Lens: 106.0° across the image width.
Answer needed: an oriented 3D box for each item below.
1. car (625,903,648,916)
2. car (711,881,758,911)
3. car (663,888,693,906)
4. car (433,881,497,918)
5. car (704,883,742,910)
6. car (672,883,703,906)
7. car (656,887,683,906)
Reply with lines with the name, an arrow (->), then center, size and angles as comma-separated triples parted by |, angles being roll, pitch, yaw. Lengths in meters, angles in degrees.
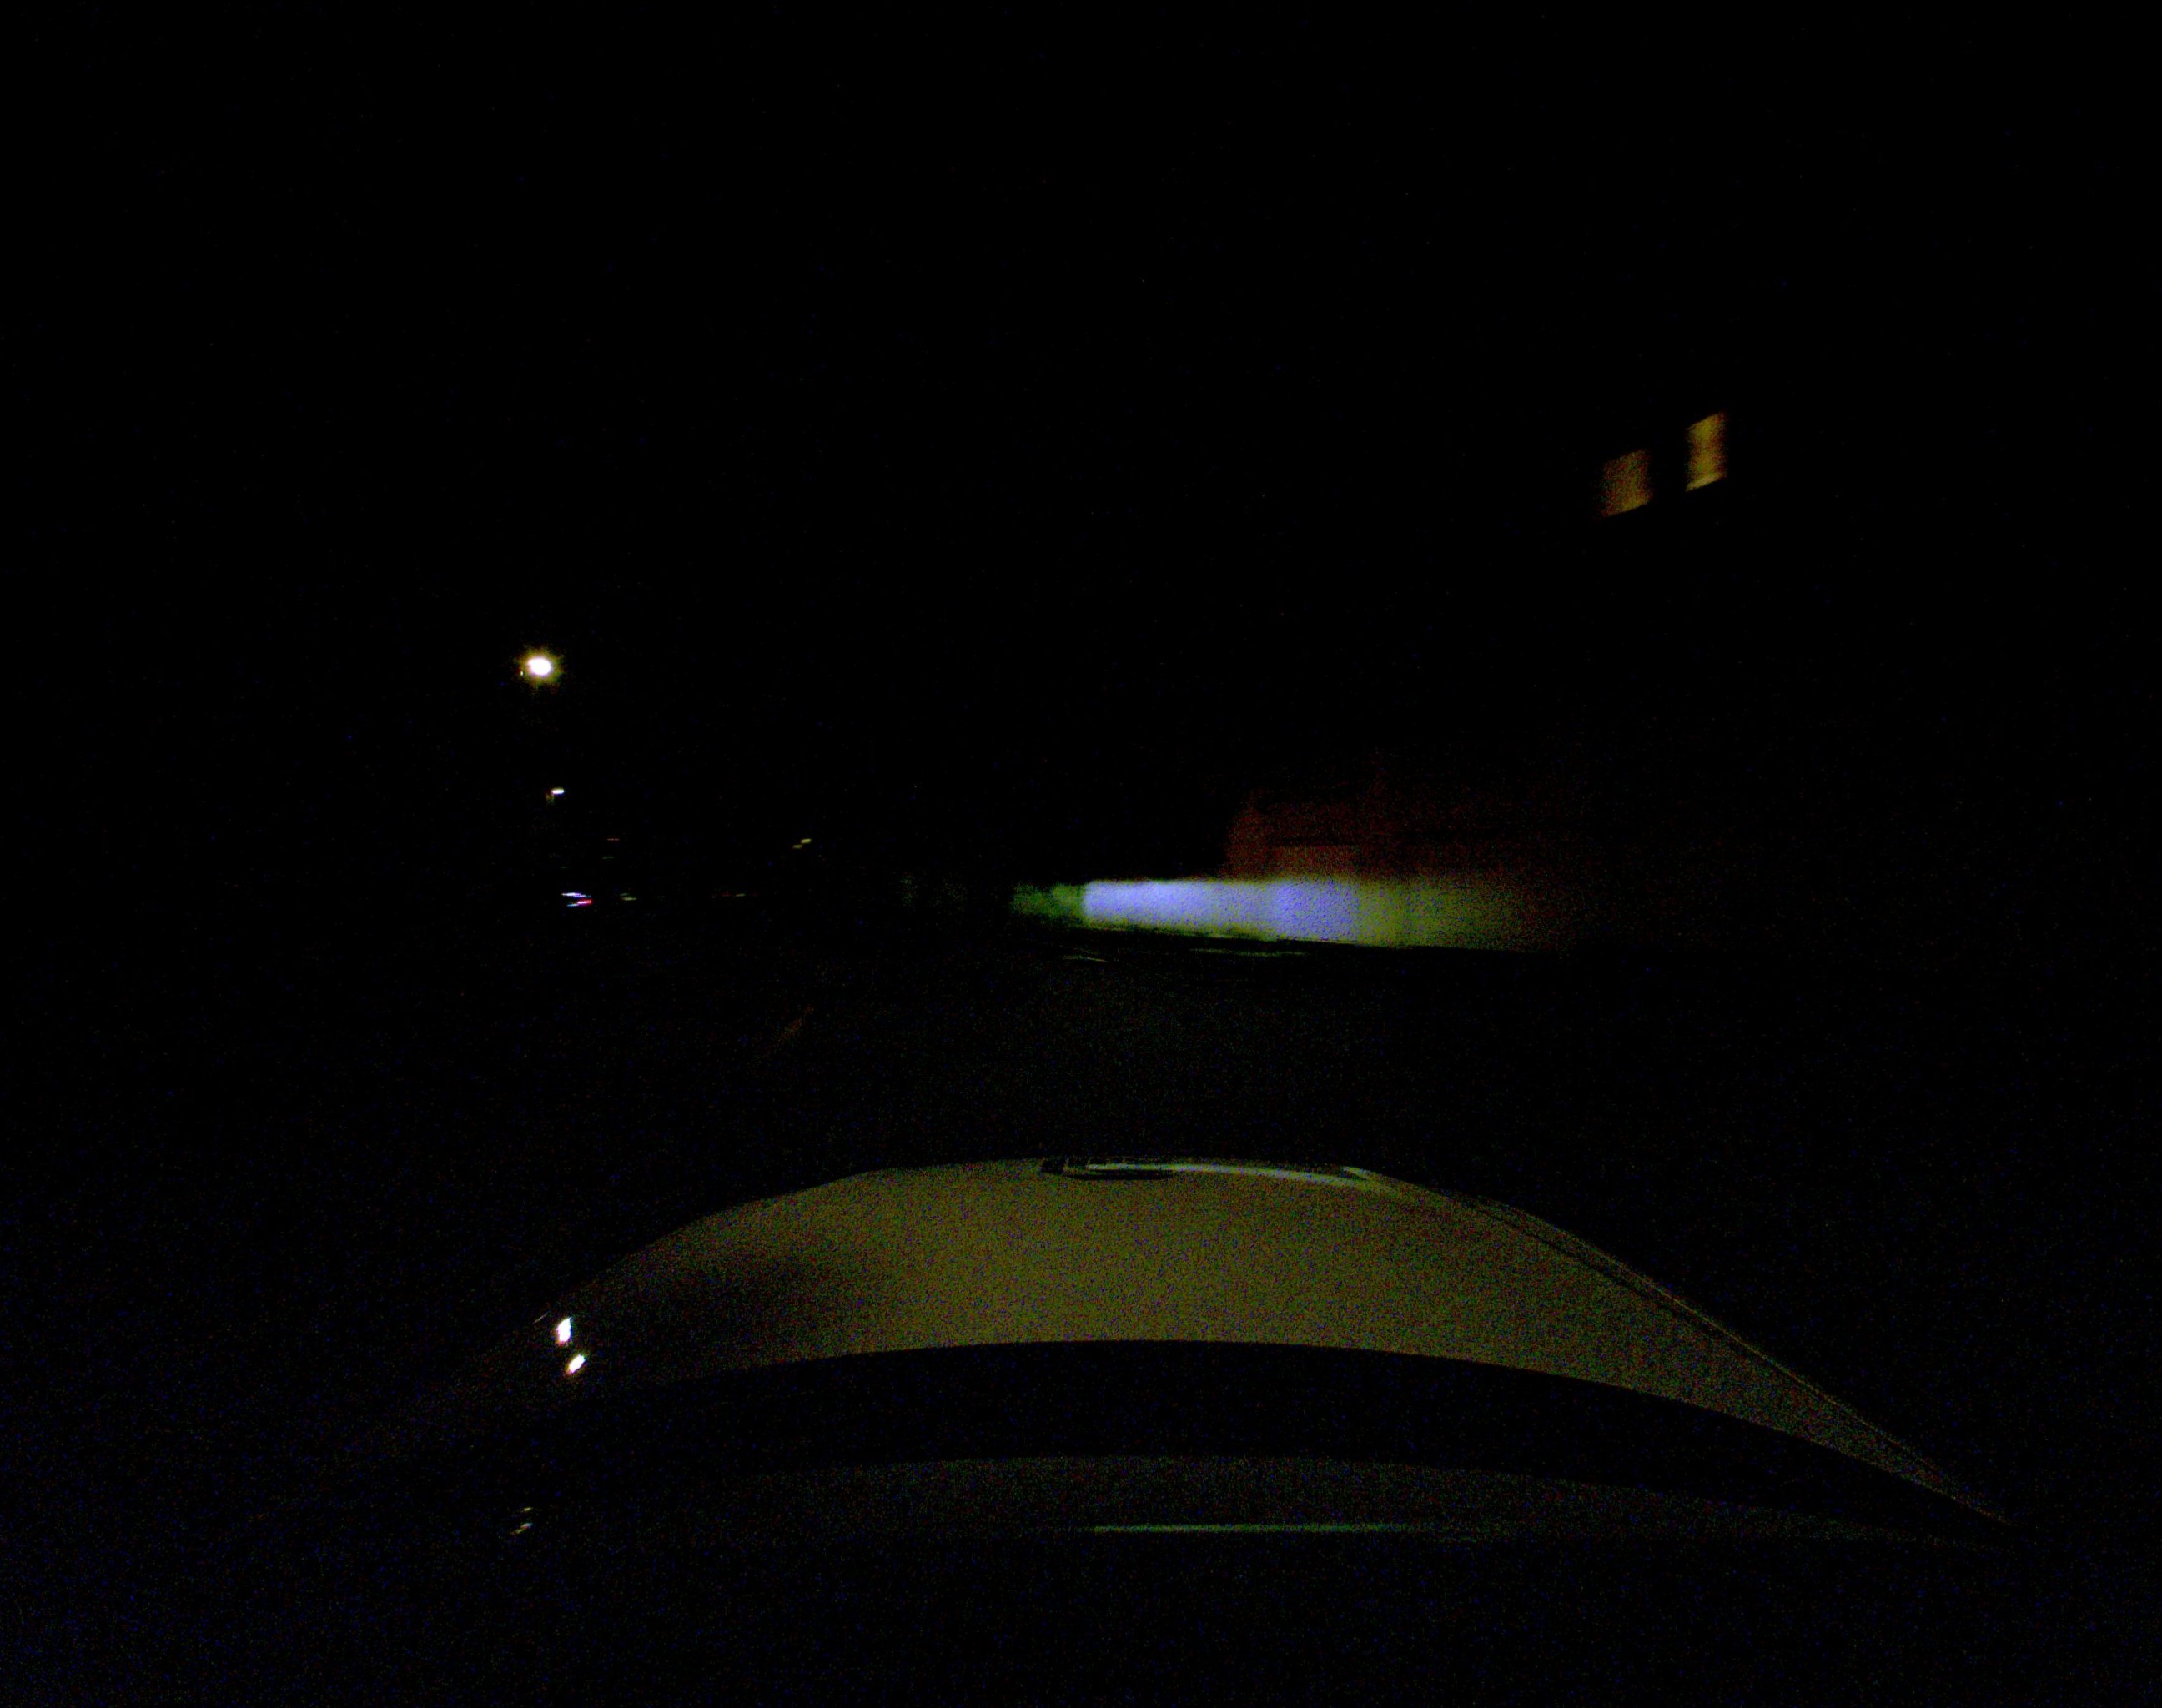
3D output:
car -> -53.632, 6.700, 98.208 | 1.776, 1.476, 4.228 | 4, -6, -36
car -> -19.836, 2.384, 46.471 | 1.766, 1.594, 4.680 | 2, -3, -31
car -> -34.293, 3.668, 69.227 | 1.755, 1.471, 4.212 | 3, -5, -33
car -> -25.631, 1.858, 33.896 | 1.990, 1.440, 3.954 | 2, -3, -38
car -> -22.135, 2.605, 50.291 | 1.620, 1.461, 3.678 | -1, 0, -33
car -> -31.307, 3.240, 64.704 | 1.730, 1.762, 4.709 | 2, -4, -32
car -> -37.367, 3.888, 73.864 | 1.843, 1.664, 4.572 | 1, -5, -30
